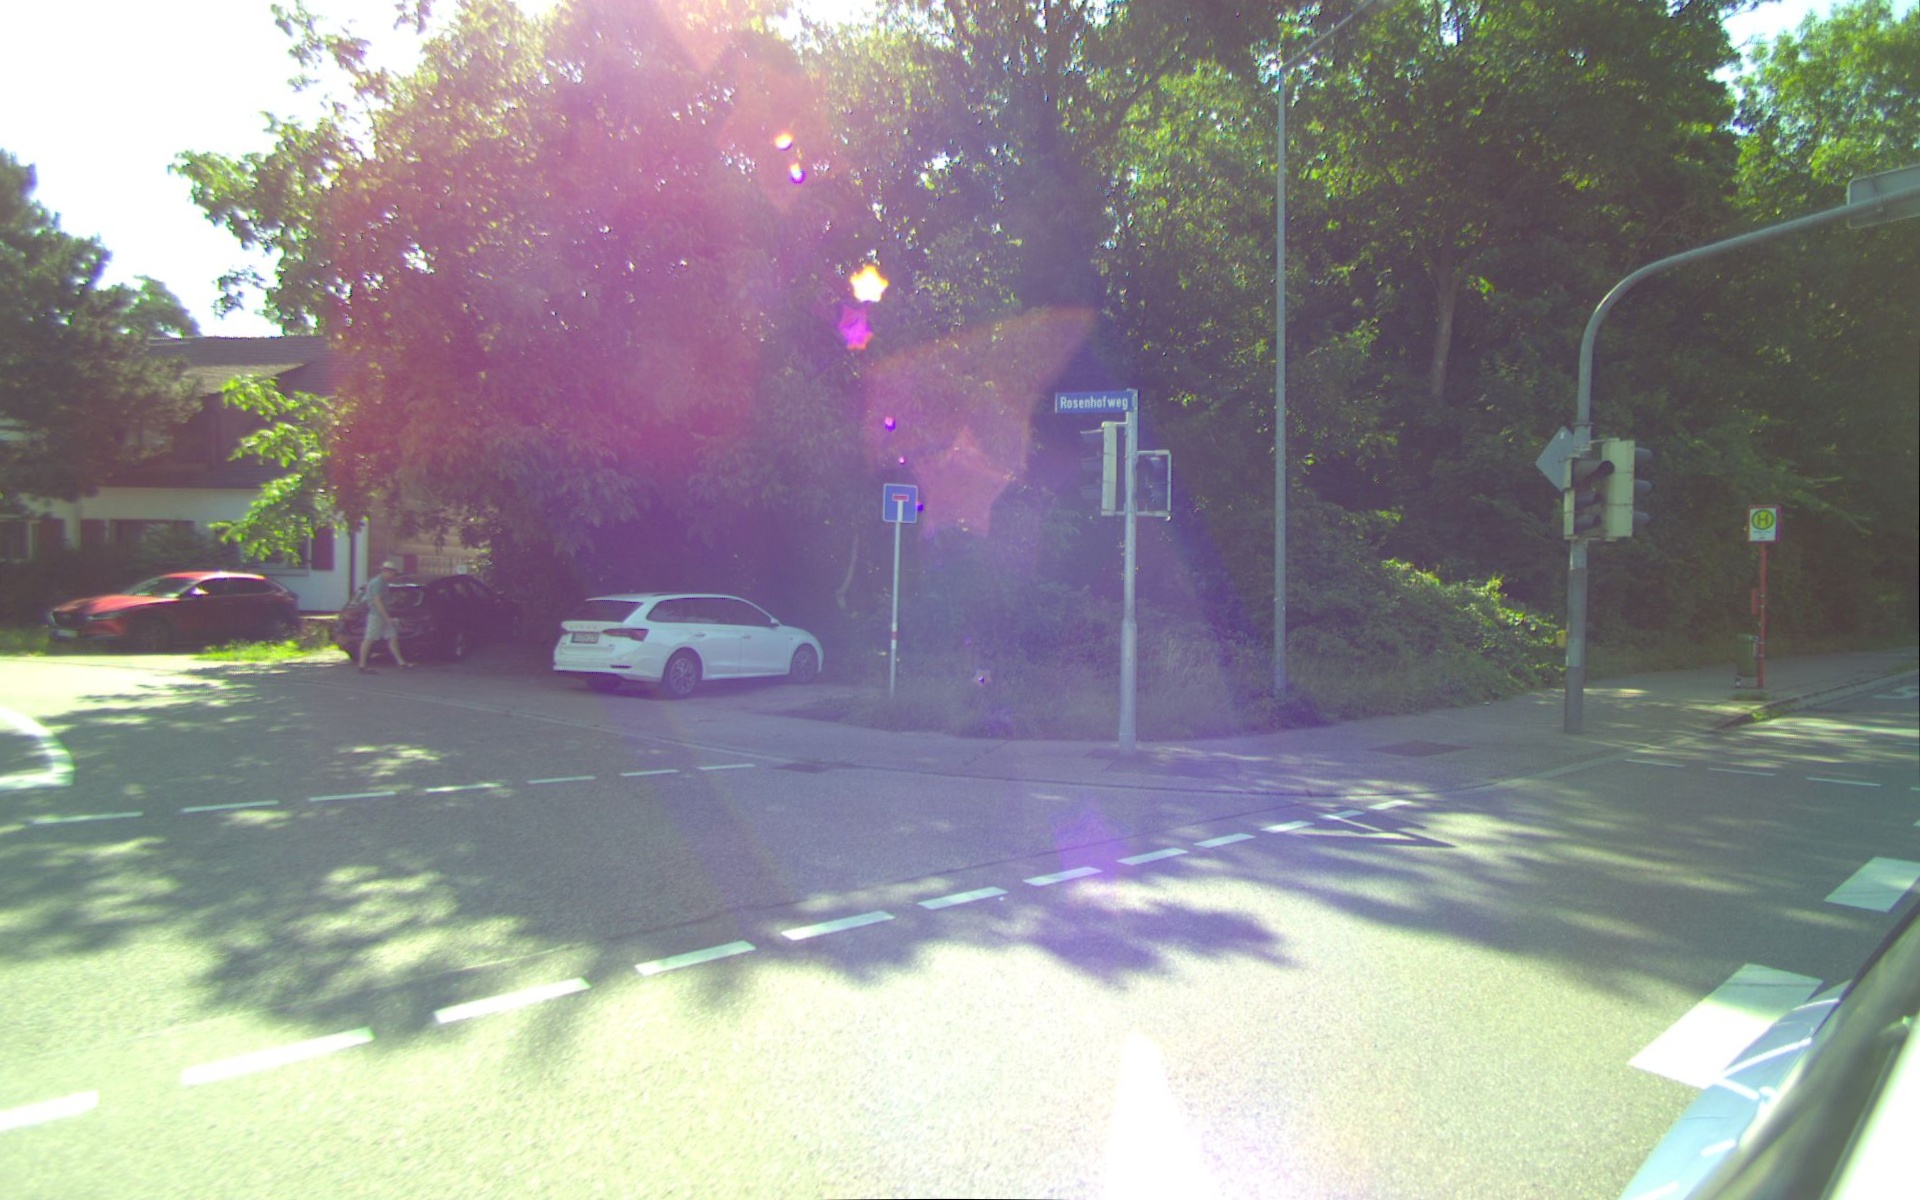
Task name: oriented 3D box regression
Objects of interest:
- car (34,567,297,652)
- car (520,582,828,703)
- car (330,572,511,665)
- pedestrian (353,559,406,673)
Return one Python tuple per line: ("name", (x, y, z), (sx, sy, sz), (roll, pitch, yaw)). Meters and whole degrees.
("car", (-15.640, 0.125, 20.196), (1.606, 1.482, 3.968), (1, 1, 16))
("car", (-4.019, 0.502, 15.050), (1.616, 1.482, 4.565), (2, 1, 31))
("car", (-9.506, 0.252, 18.160), (1.596, 1.482, 3.796), (1, 1, -7))
("pedestrian", (-8.640, 0.228, 15.060), (0.599, 1.650, 0.414), (0, 1, -43))
